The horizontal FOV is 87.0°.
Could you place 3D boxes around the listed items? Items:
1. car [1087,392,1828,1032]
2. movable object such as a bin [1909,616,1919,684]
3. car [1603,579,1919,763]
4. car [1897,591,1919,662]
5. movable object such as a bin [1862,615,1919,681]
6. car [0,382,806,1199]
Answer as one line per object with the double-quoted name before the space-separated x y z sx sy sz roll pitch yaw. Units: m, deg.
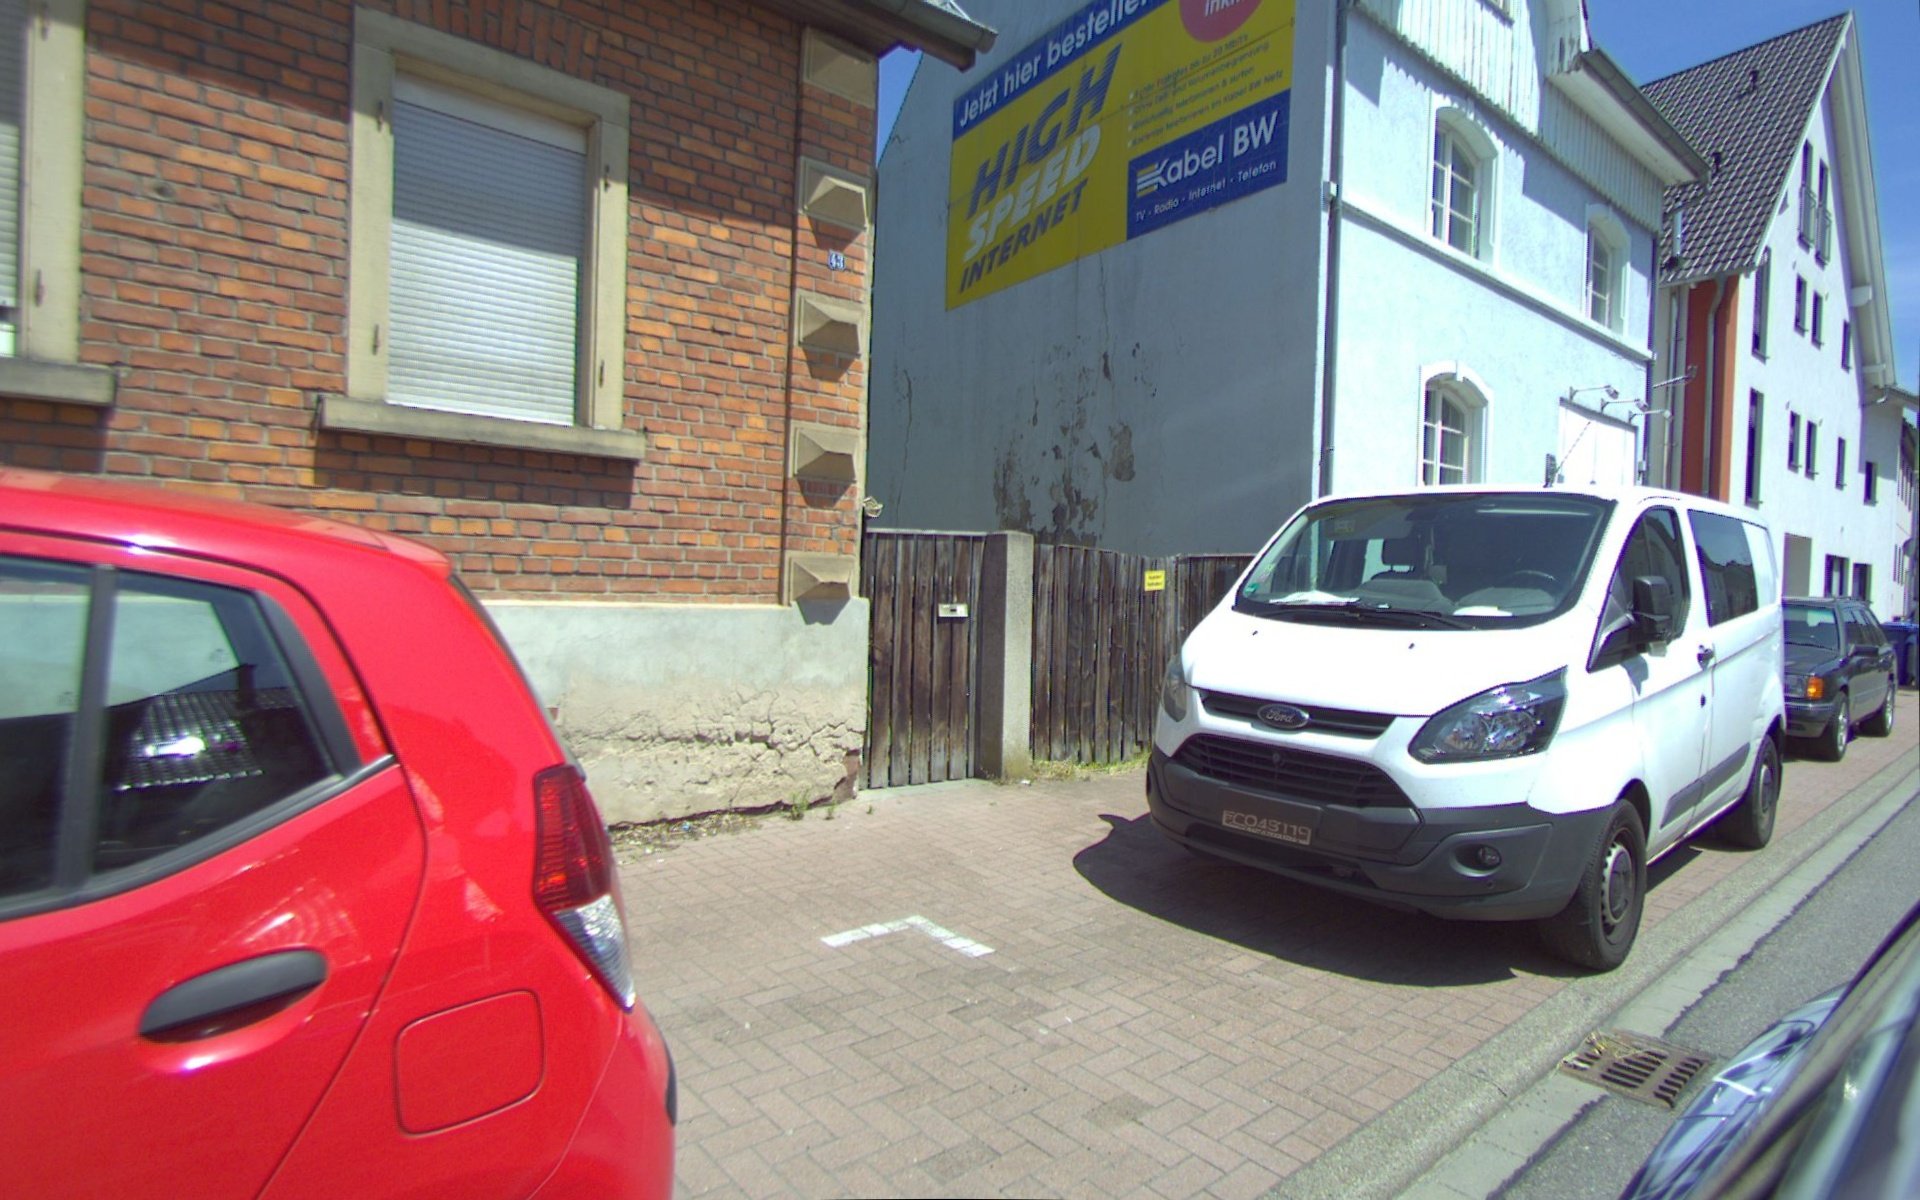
"car" 2.988 0.317 5.459 4.703 1.994 1.949 0 2 -42
"movable object such as a bin" 16.190 0.845 16.471 0.951 1.086 0.726 1 3 -24
"car" 8.523 0.590 10.565 4.496 1.484 1.774 0 2 -41
"car" 22.136 0.608 22.191 4.751 1.464 1.705 0 4 -40
"movable object such as a bin" 16.260 0.824 17.492 0.818 1.073 0.658 1 3 -24
"car" -2.132 0.525 0.989 3.613 1.547 1.613 0 2 -42
